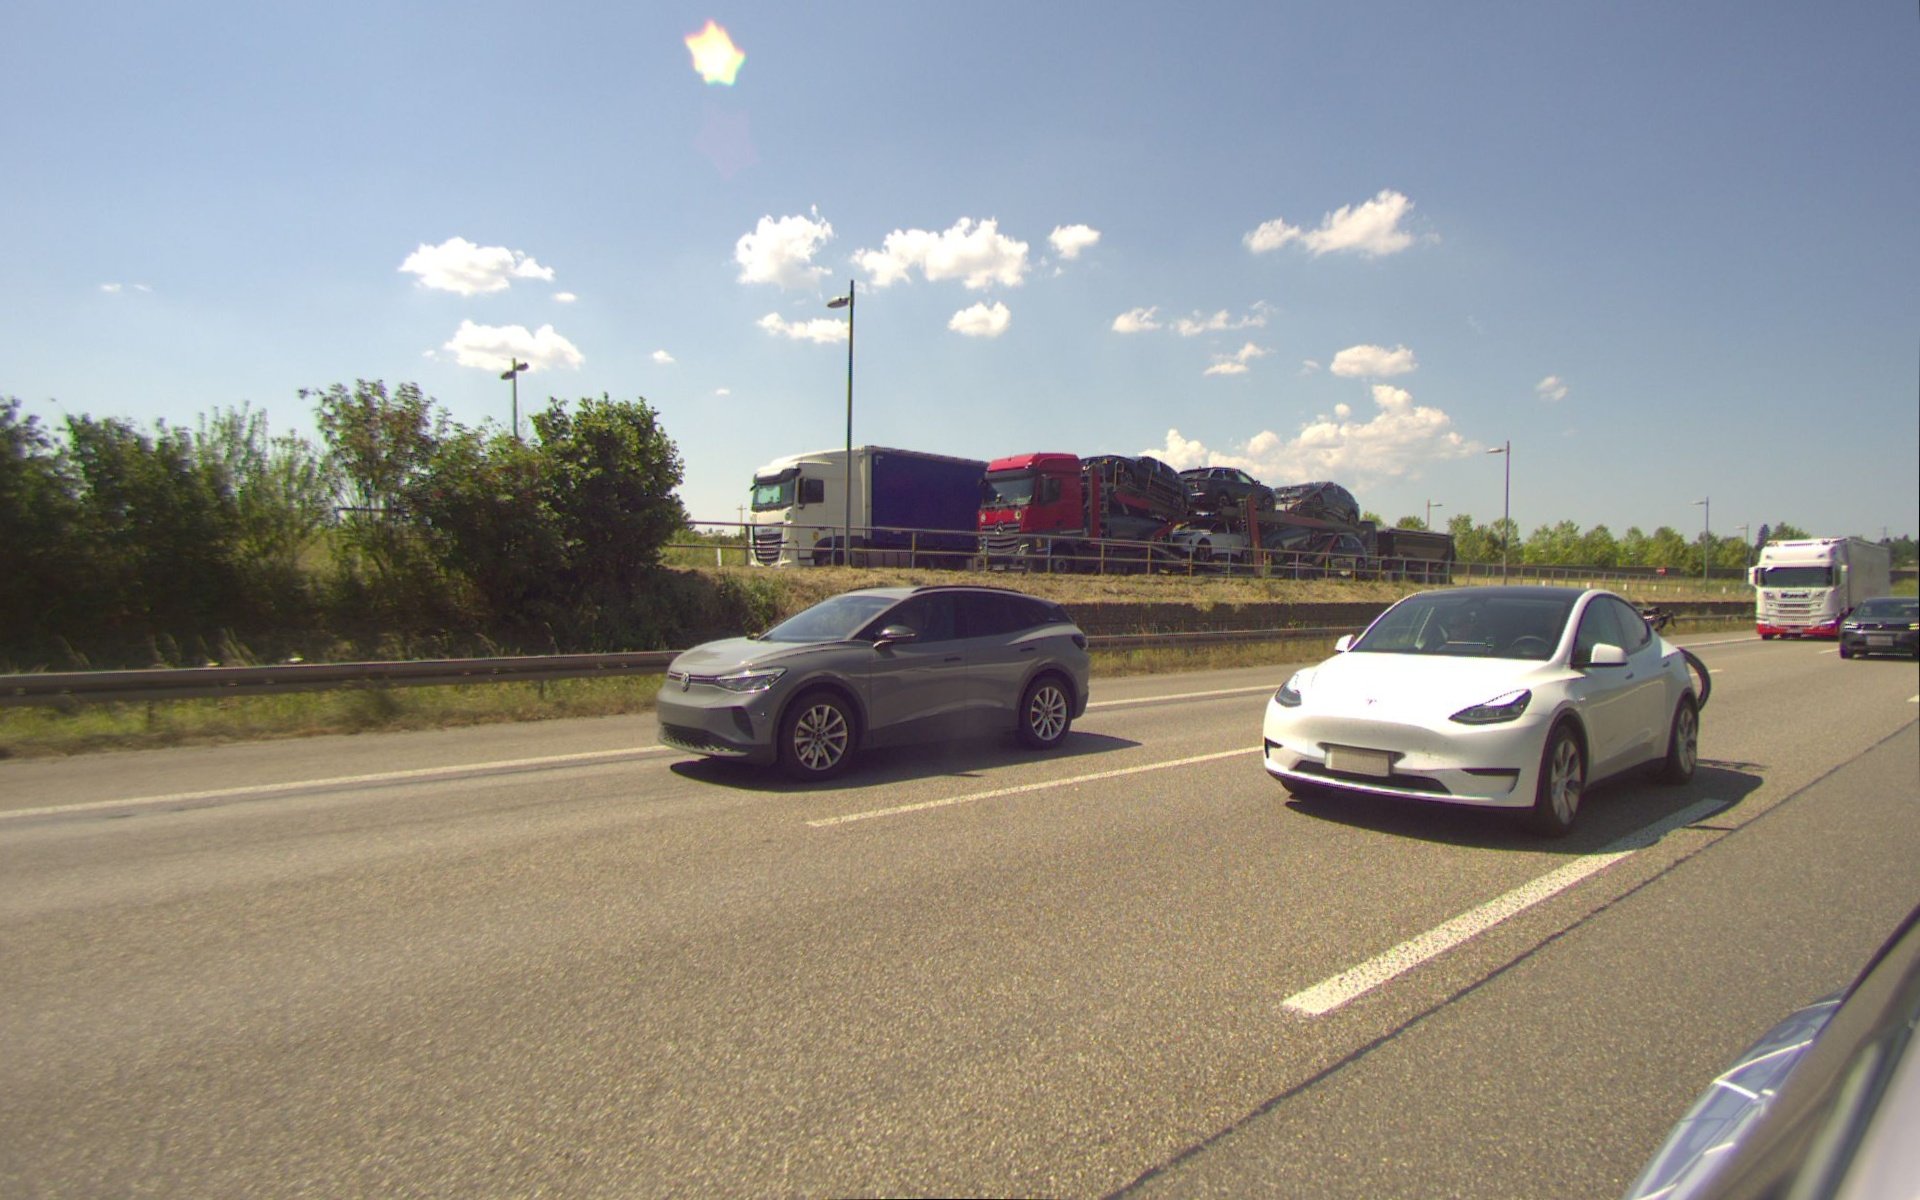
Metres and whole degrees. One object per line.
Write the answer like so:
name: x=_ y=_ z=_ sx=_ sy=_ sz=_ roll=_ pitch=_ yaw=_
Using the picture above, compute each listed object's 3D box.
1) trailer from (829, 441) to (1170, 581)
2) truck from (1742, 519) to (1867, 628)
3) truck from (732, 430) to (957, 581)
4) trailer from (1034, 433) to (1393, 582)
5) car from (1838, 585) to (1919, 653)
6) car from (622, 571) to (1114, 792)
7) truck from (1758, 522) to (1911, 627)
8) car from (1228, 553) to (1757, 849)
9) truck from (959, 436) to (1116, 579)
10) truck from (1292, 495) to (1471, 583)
trailer: x=2.005 y=-2.784 z=36.202 sx=14.012 sy=4.135 sz=3.056 roll=-1 pitch=0 yaw=-42
truck: x=32.613 y=-0.961 z=39.093 sx=3.779 sy=3.957 sz=3.074 roll=0 pitch=0 yaw=-40
truck: x=-3.470 y=-2.681 z=31.305 sx=6.288 sy=4.135 sz=3.057 roll=-1 pitch=0 yaw=-42
trailer: x=10.023 y=-2.868 z=36.585 sx=18.100 sy=4.311 sz=2.610 roll=-1 pitch=0 yaw=-41
car: x=24.672 y=0.453 z=26.431 sx=3.974 sy=1.667 sz=1.955 roll=-1 pitch=0 yaw=-39
car: x=-0.703 y=0.584 z=9.780 sx=4.506 sy=1.657 sz=1.871 roll=-1 pitch=0 yaw=-41
truck: x=37.794 y=-1.031 z=43.493 sx=12.283 sy=3.957 sz=3.074 roll=-1 pitch=0 yaw=-40
car: x=4.611 y=0.537 z=8.233 sx=5.503 sy=1.657 sz=1.953 roll=-1 pitch=0 yaw=-41
truck: x=2.320 y=-2.573 z=29.942 sx=3.930 sy=3.875 sz=2.606 roll=-1 pitch=0 yaw=-41
truck: x=22.633 y=-3.003 z=53.775 sx=12.302 sy=4.135 sz=3.794 roll=-1 pitch=0 yaw=-41
